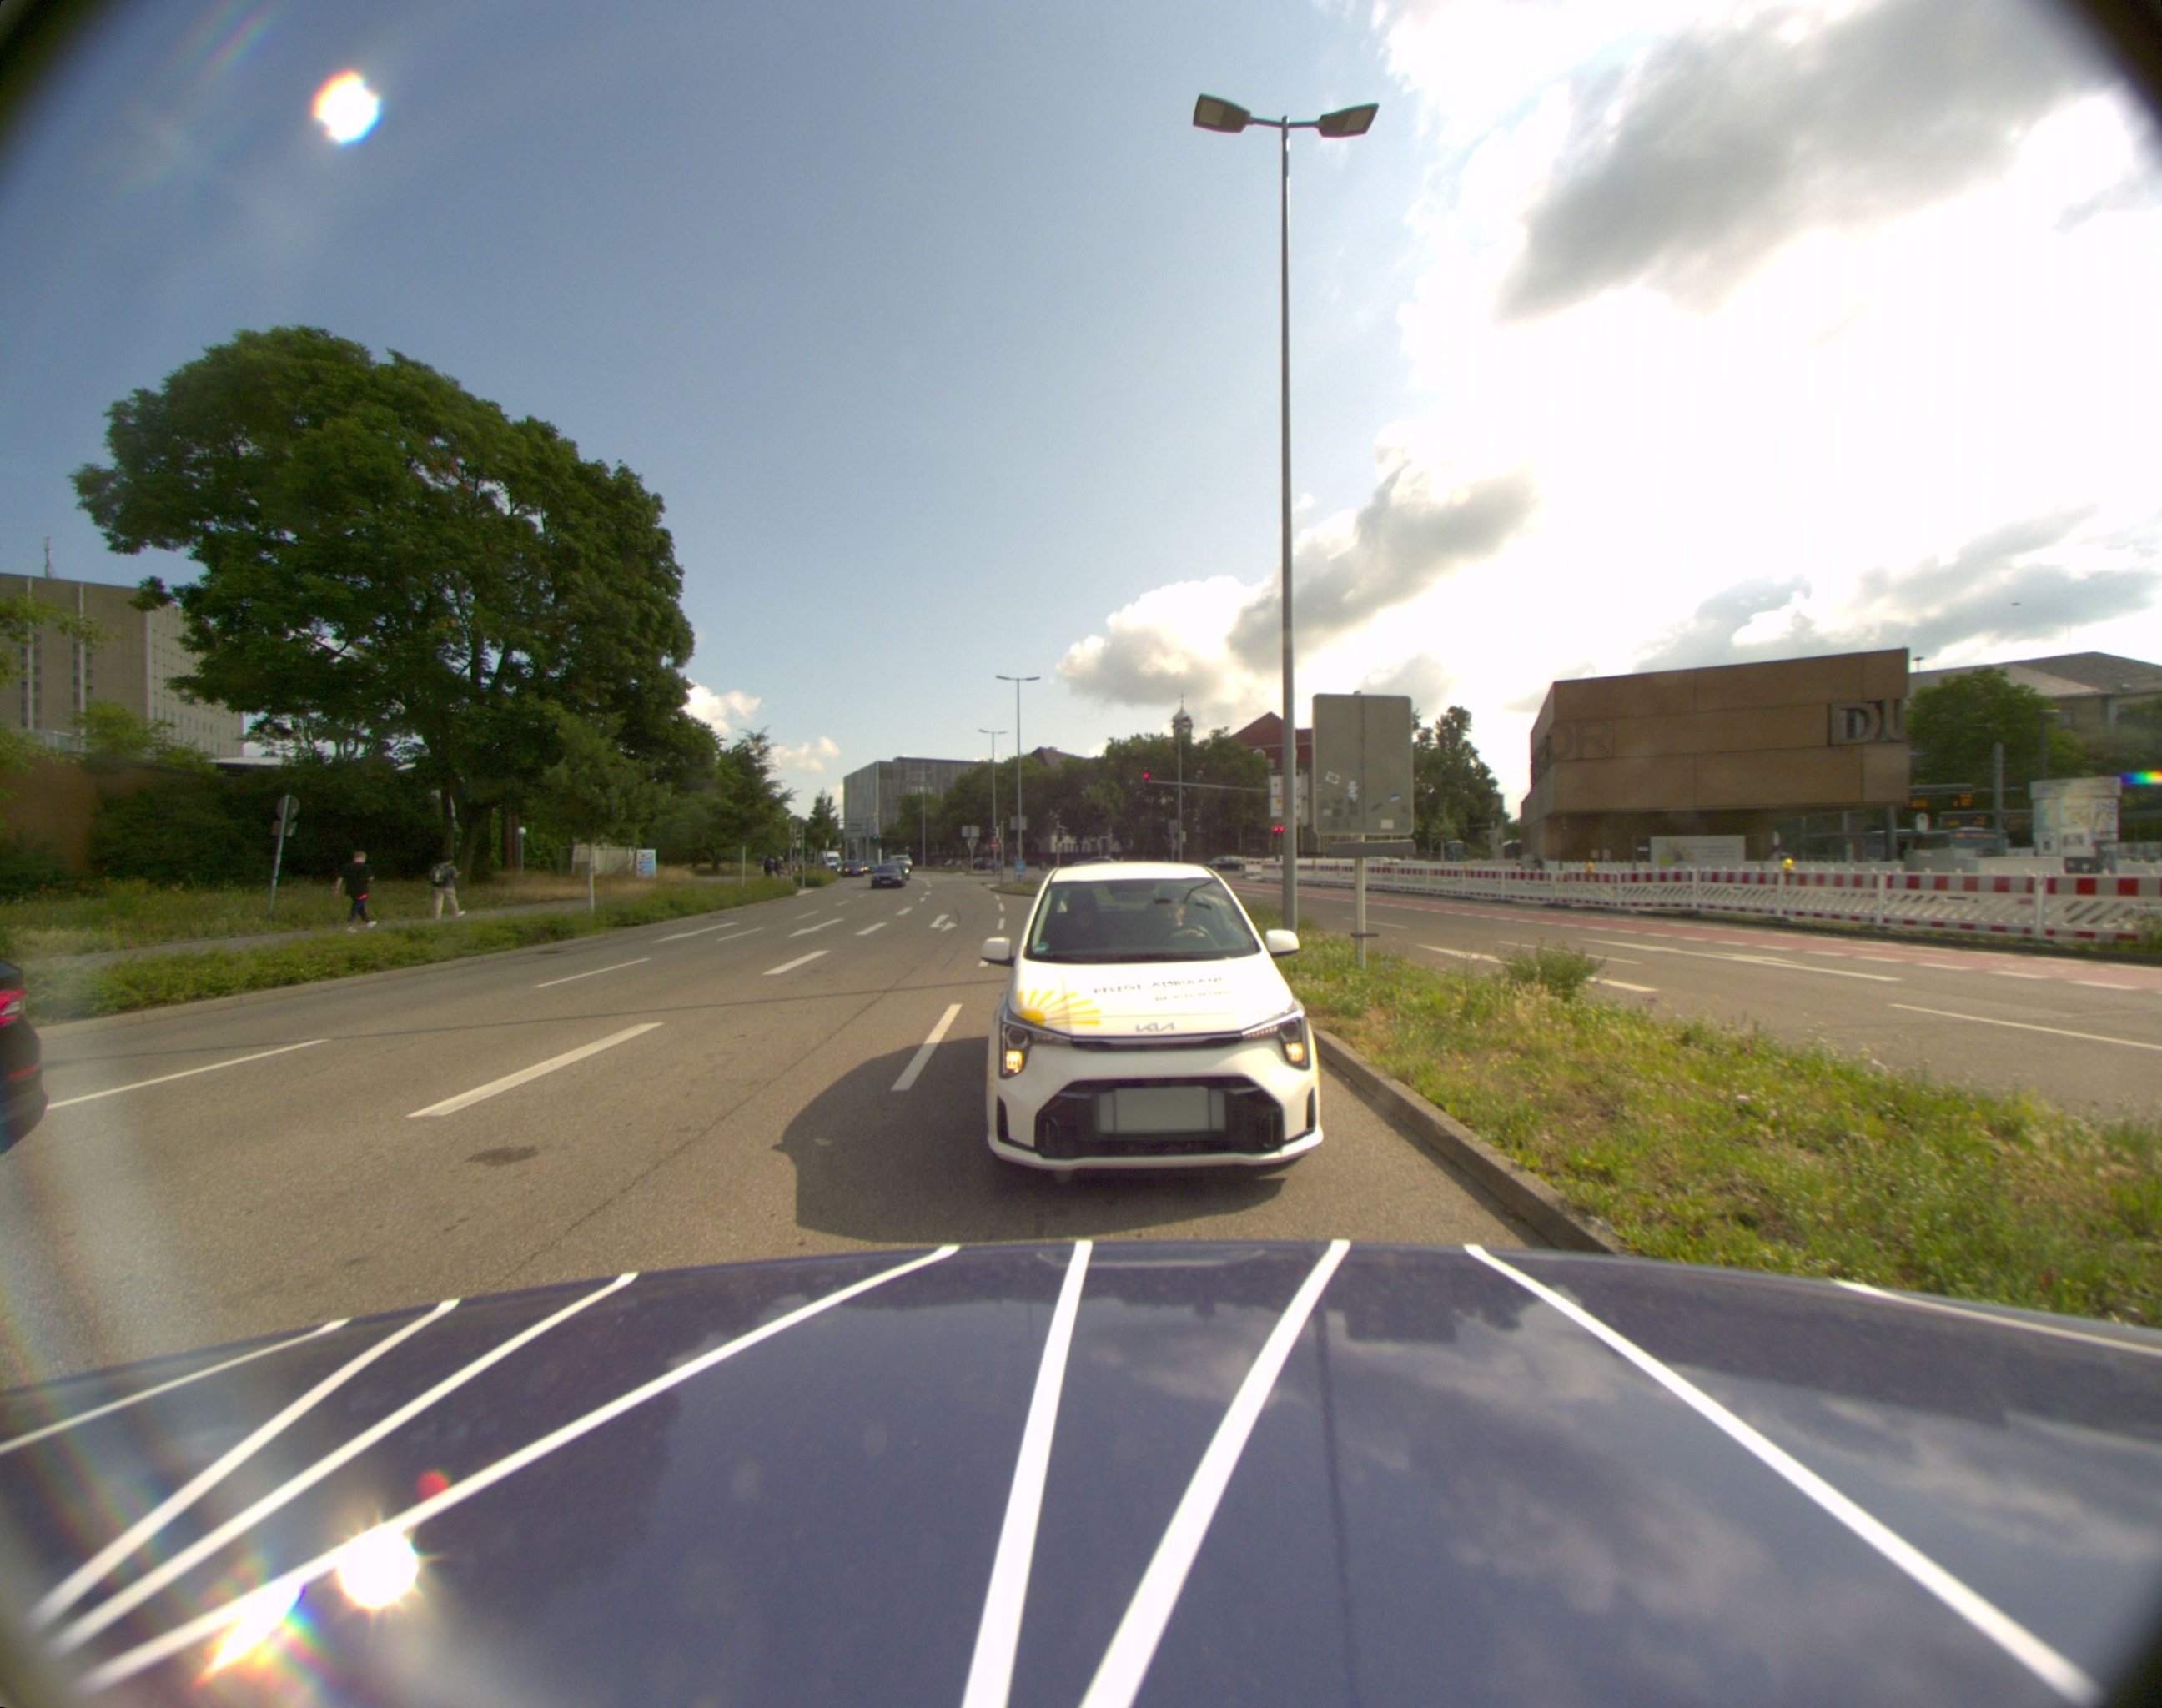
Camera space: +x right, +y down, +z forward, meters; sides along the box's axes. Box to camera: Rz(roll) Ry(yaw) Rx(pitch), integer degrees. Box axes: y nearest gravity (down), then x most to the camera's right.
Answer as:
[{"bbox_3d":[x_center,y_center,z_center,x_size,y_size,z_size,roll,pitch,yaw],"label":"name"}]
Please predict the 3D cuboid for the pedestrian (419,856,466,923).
[{"bbox_3d":[-17.020,0.937,20.273,0.671,1.736,0.645,2,1,1],"label":"pedestrian"}]

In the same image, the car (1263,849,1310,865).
[{"bbox_3d":[18.826,0.260,69.575,4.136,1.382,1.756,-1,0,-29],"label":"car"}]

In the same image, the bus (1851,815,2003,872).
[{"bbox_3d":[57.837,-0.672,52.497,2.957,3.487,12.276,0,0,28],"label":"bus"}]

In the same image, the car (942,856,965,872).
[{"bbox_3d":[-17.123,1.308,102.020,1.775,2.002,3.604,-3,1,-30],"label":"car"}]

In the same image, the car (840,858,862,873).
[{"bbox_3d":[-24.268,1.226,79.938,2.002,1.477,3.993,-1,0,-20],"label":"car"}]

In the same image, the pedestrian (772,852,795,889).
[{"bbox_3d":[-16.501,0.912,42.183,0.988,2.002,1.128,-3,1,-16],"label":"pedestrian"}]

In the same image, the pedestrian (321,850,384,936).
[{"bbox_3d":[-16.336,0.861,17.048,0.760,1.860,0.645,2,1,1],"label":"pedestrian"}]

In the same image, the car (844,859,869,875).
[{"bbox_3d":[-21.467,1.200,72.606,2.002,1.477,3.993,-1,0,-20],"label":"car"}]

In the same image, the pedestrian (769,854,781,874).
[{"bbox_3d":[-31.530,1.052,78.306,0.988,2.002,1.128,-3,1,-16],"label":"pedestrian"}]

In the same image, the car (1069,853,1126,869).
[{"bbox_3d":[1.625,0.672,72.733,5.090,1.479,1.961,0,0,16],"label":"car"}]

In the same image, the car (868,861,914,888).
[{"bbox_3d":[-10.964,1.151,44.155,2.000,1.390,4.506,-1,0,-6],"label":"car"}]

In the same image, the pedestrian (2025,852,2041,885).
[{"bbox_3d":[46.706,0.726,37.279,0.357,1.593,0.365,-1,1,21],"label":"pedestrian"}]

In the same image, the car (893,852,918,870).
[{"bbox_3d":[-21.185,0.862,91.648,2.002,2.002,5.064,-3,1,-22],"label":"car"}]

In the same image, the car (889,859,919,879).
[{"bbox_3d":[-13.700,1.161,59.086,1.713,1.445,3.998,-1,0,-5],"label":"car"}]

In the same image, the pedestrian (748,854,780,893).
[{"bbox_3d":[-16.912,1.039,40.572,1.127,2.002,0.988,-2,1,21],"label":"pedestrian"}]

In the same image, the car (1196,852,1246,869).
[{"bbox_3d":[12.164,0.556,65.967,4.136,1.382,1.756,-1,0,-29],"label":"car"}]

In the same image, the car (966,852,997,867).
[{"bbox_3d":[-11.214,0.637,85.299,2.003,1.586,3.990,-1,0,-32],"label":"car"}]

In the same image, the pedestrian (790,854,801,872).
[{"bbox_3d":[-32.556,0.998,86.639,0.988,2.002,1.128,-3,1,-16],"label":"pedestrian"}]

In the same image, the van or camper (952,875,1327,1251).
[{"bbox_3d":[0.331,0.966,5.325,1.627,1.467,4.000,0,1,2],"label":"van or camper"}]

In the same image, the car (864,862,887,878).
[{"bbox_3d":[-22.944,1.782,84.676,1.893,1.608,3.992,-3,1,-23],"label":"car"}]

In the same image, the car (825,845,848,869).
[{"bbox_3d":[-30.027,0.393,93.311,2.488,2.862,6.139,-1,0,-19],"label":"car"}]

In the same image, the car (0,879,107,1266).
[{"bbox_3d":[-5.673,0.998,1.280,1.999,1.659,4.682,-1,1,-1],"label":"car"}]
